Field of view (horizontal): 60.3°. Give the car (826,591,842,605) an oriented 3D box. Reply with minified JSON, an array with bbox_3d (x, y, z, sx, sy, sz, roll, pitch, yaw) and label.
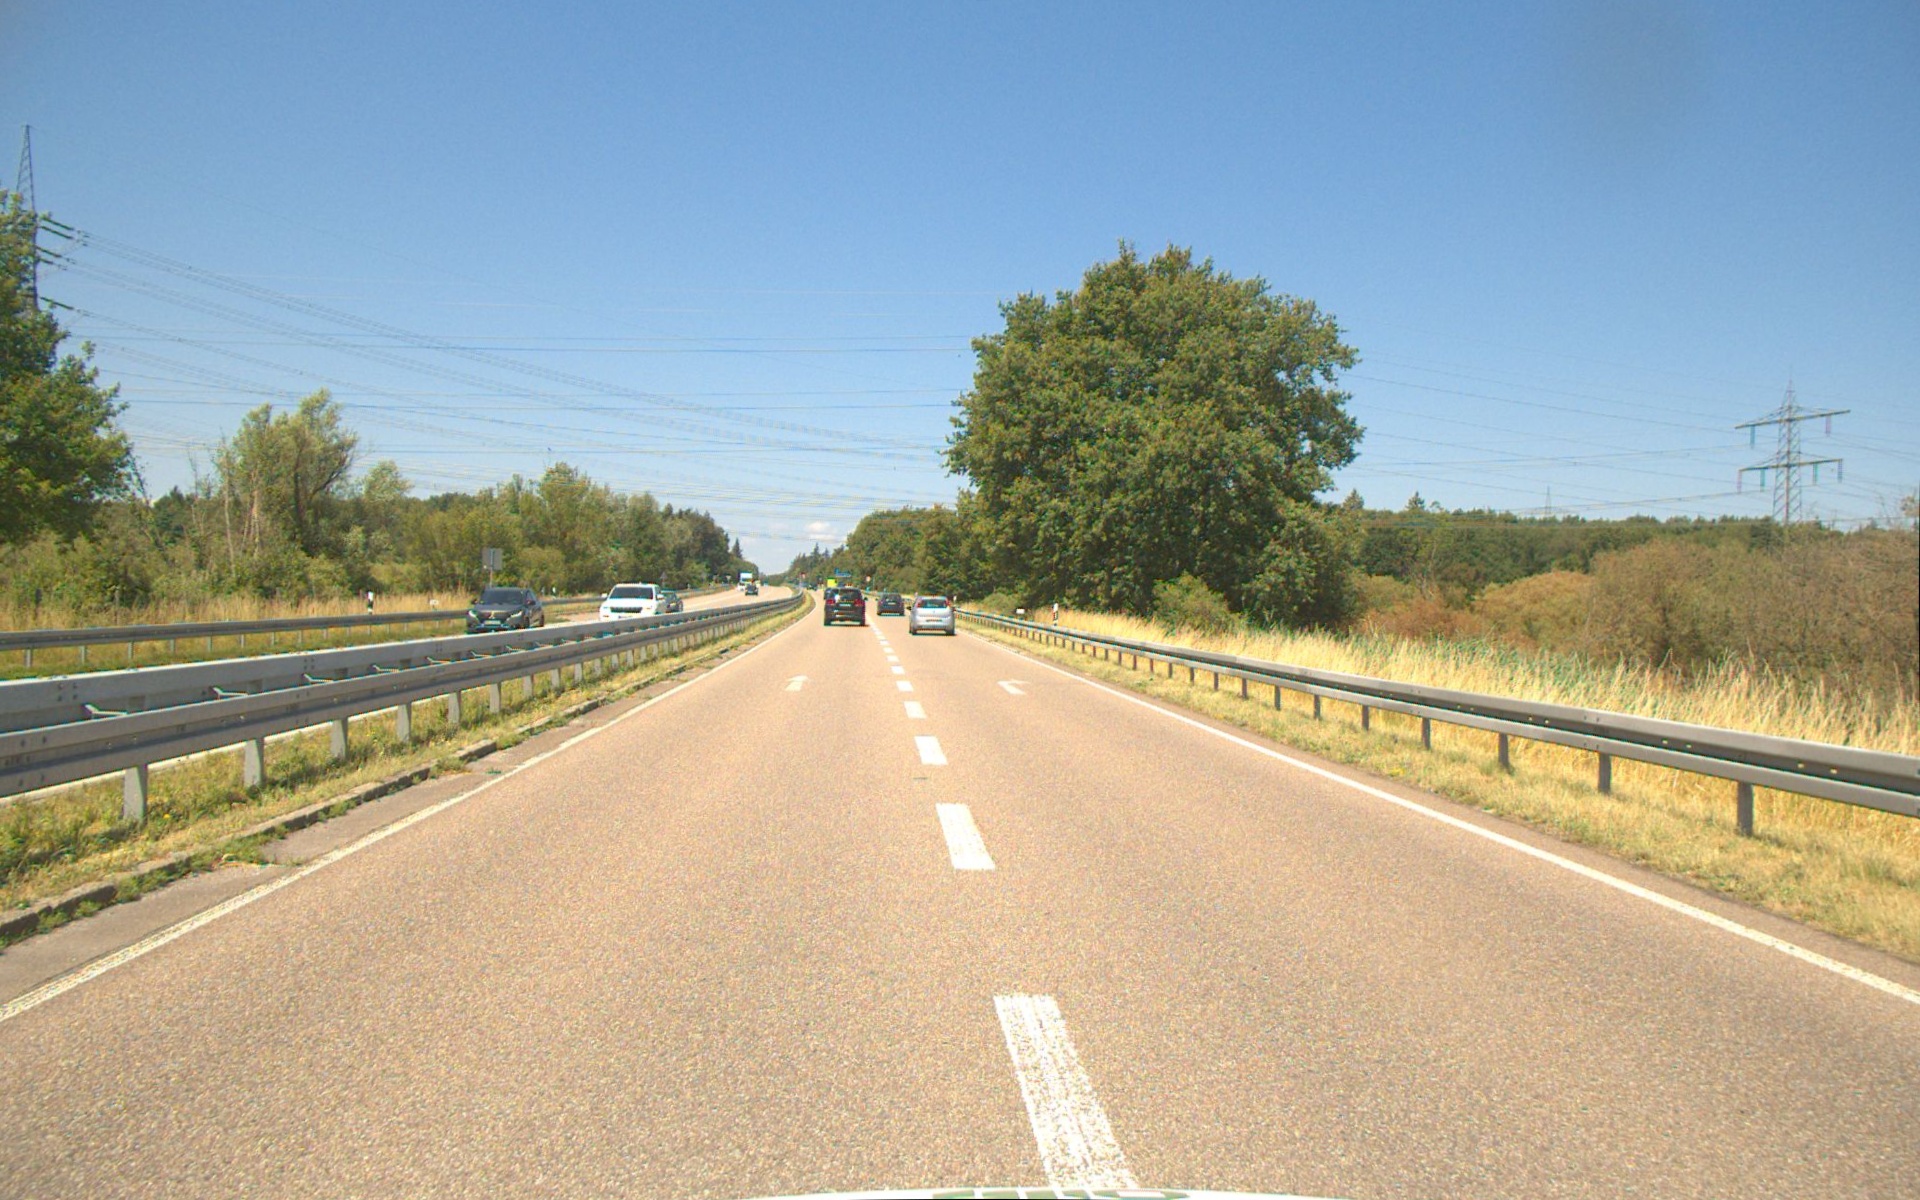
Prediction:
[{"bbox_3d":[-14.715,-0.271,192.972,1.680,1.497,3.569,3,0,-7],"label":"car"}]

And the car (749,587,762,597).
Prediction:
[{"bbox_3d":[-28.571,-1.127,231.251,1.810,1.437,4.673,1,0,-8],"label":"car"}]

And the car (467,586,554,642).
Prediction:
[{"bbox_3d":[-14.053,0.407,51.968,1.805,1.646,4.168,1,0,-4],"label":"car"}]

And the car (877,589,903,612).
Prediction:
[{"bbox_3d":[-4.586,0.038,108.694,1.607,1.366,3.572,3,0,-2],"label":"car"}]

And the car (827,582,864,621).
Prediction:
[{"bbox_3d":[-5.289,0.054,76.540,1.608,1.682,3.571,3,0,-4],"label":"car"}]

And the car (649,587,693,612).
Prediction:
[{"bbox_3d":[-16.590,-0.066,95.159,1.886,1.409,4.655,0,1,-3],"label":"car"}]

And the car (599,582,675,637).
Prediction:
[{"bbox_3d":[-11.204,0.293,57.671,1.940,1.839,4.965,1,0,-4],"label":"car"}]

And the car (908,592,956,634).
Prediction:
[{"bbox_3d":[-1.103,0.485,63.855,1.608,1.493,3.416,3,0,-4],"label":"car"}]
